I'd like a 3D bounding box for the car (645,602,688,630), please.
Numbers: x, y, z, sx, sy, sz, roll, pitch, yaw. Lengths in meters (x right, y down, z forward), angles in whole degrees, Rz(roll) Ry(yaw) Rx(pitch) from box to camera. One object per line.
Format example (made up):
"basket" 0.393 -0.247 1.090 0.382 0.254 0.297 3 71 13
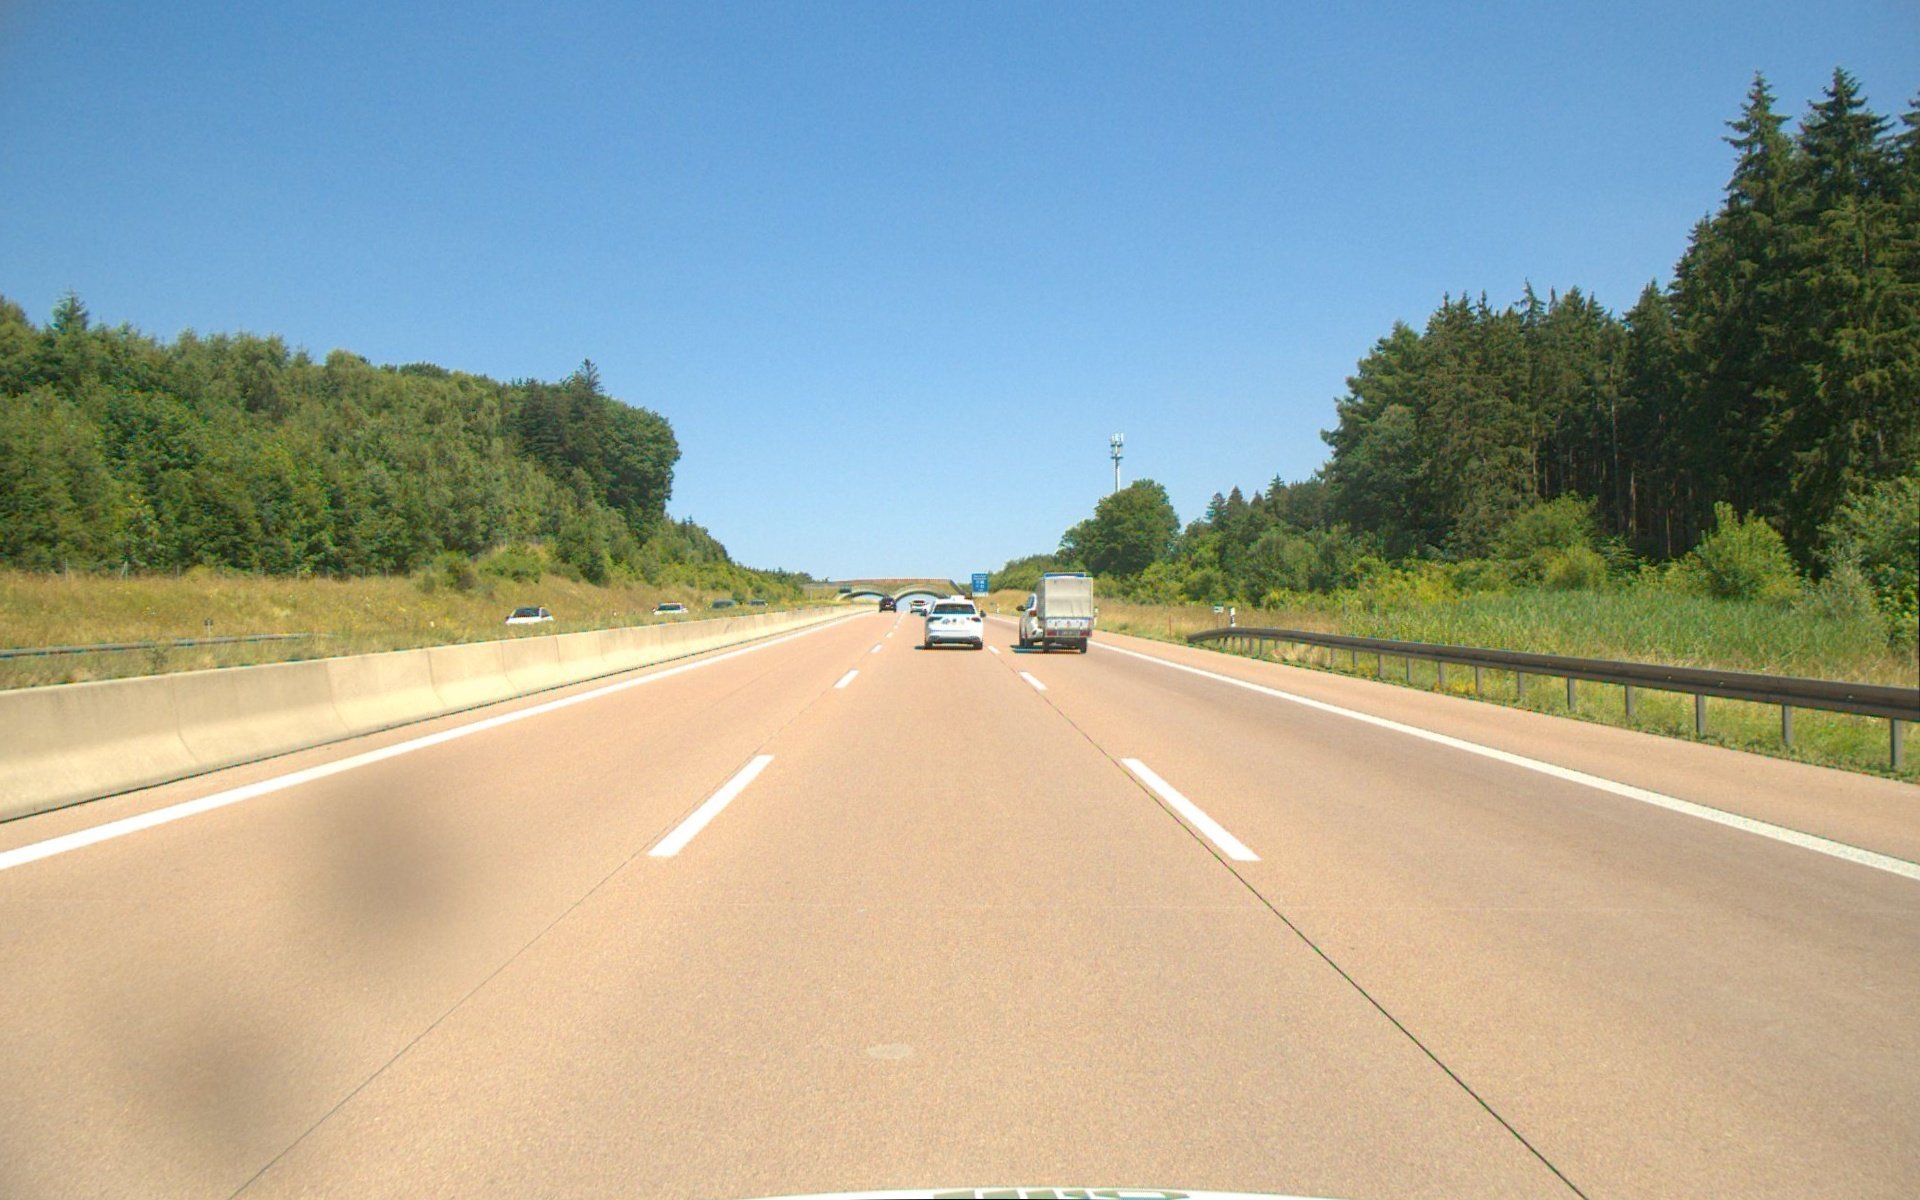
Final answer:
"car" -17.394 0.933 98.284 1.852 1.621 4.463 0 0 -1

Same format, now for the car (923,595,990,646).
"car" -0.132 0.588 49.274 1.853 1.422 3.998 1 0 -2

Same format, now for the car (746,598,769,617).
"car" -19.295 0.715 157.818 1.853 1.769 4.461 0 0 -3

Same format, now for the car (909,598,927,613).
"car" -4.409 0.594 173.828 1.852 1.489 3.999 1 0 -1

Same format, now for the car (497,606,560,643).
"car" -20.098 1.133 77.278 1.852 1.621 4.463 0 0 -1

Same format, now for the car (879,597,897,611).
"car" -7.933 0.452 182.425 1.852 1.489 4.000 0 0 0

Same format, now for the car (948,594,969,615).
"car" -0.145 0.420 170.701 2.067 2.090 4.000 0 0 0

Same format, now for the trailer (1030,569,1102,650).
"trailer" 2.979 0.278 47.051 1.624 2.202 4.014 0 0 -3

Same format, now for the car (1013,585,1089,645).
"car" 2.782 0.445 51.609 1.853 1.758 5.183 0 0 -3
